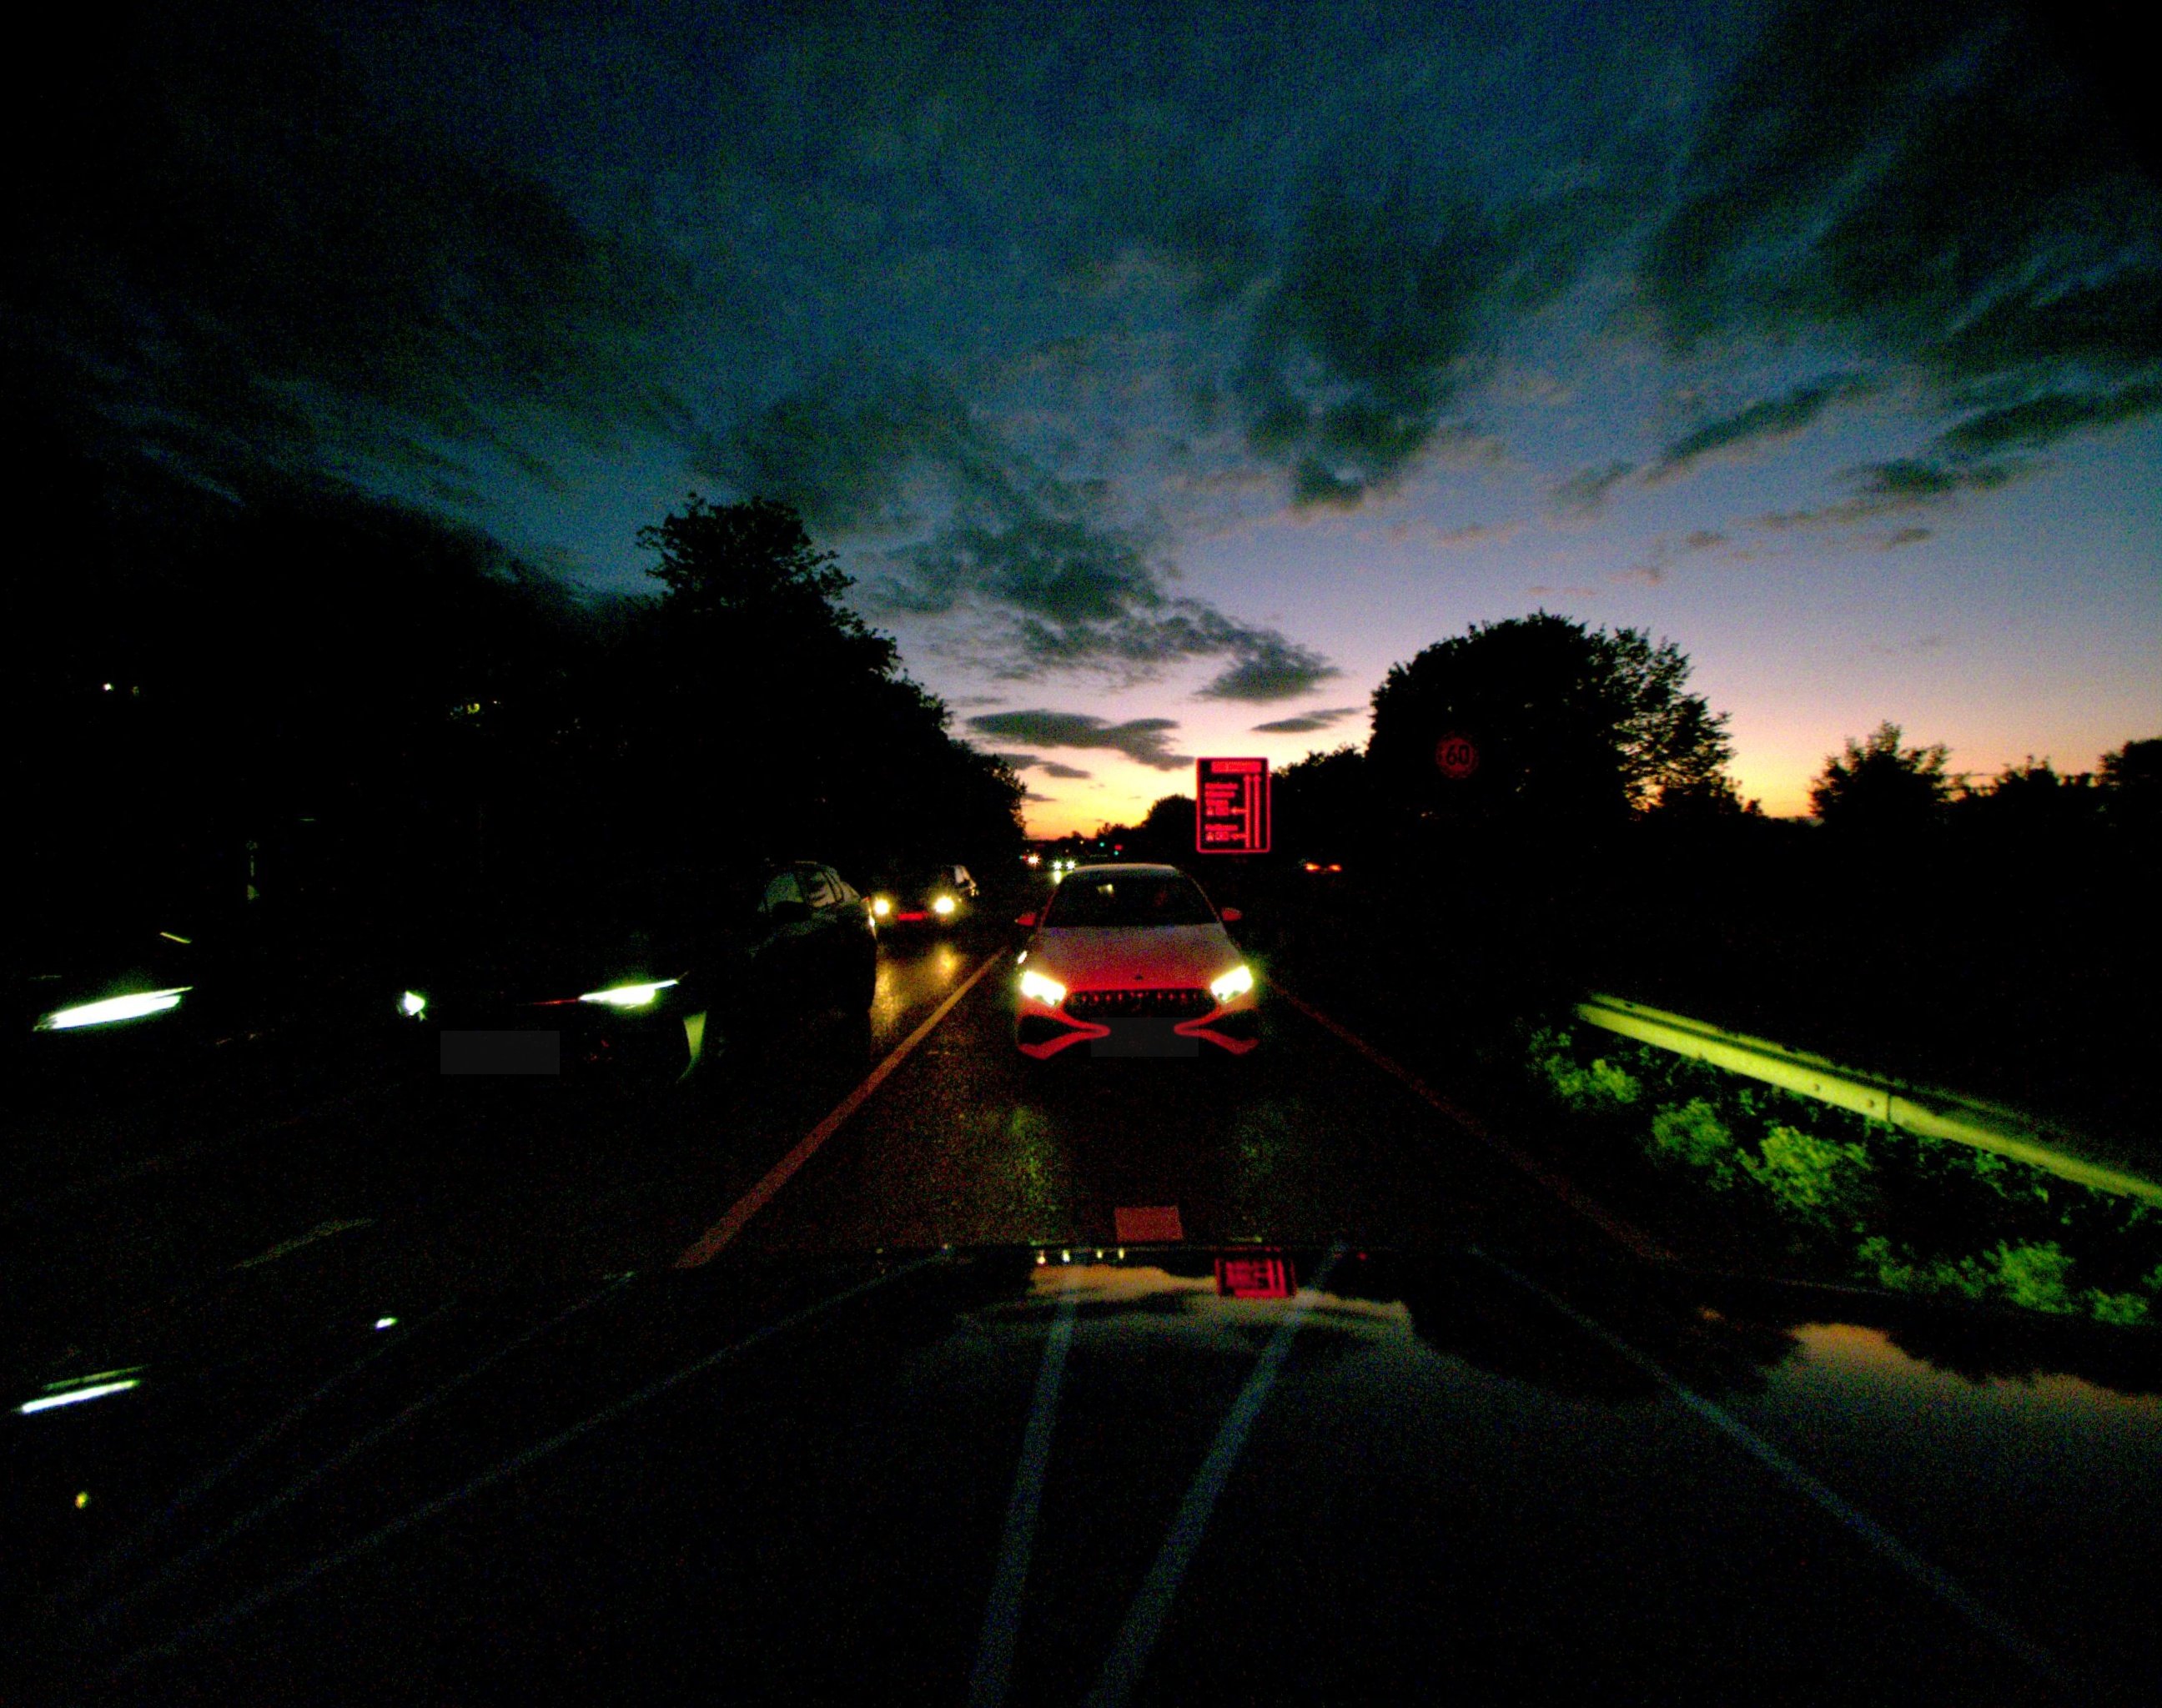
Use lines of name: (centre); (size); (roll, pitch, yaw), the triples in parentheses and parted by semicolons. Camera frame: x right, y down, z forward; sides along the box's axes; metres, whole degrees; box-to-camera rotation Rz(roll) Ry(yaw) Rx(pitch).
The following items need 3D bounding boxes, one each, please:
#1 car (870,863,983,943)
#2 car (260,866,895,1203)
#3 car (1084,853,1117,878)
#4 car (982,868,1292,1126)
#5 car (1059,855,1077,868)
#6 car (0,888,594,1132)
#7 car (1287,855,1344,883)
car: (-3.296, 0.989, 16.898); (1.624, 1.460, 3.871); (-2, 0, 1)
car: (-3.167, 0.970, 6.265); (1.998, 1.600, 4.711); (-2, 0, 1)
car: (1.275, 0.732, 51.787); (1.999, 1.602, 4.501); (-1, 0, -1)
car: (0.349, 0.936, 7.016); (1.901, 1.472, 4.514); (-2, 0, 0)
car: (-1.497, 0.802, 85.943); (1.999, 1.423, 4.501); (0, 0, -1)
car: (-7.447, 1.180, 7.517); (1.922, 1.423, 4.705); (-1, 0, 5)
car: (13.288, 0.821, 43.364); (1.998, 1.510, 4.297); (-1, 0, 1)
